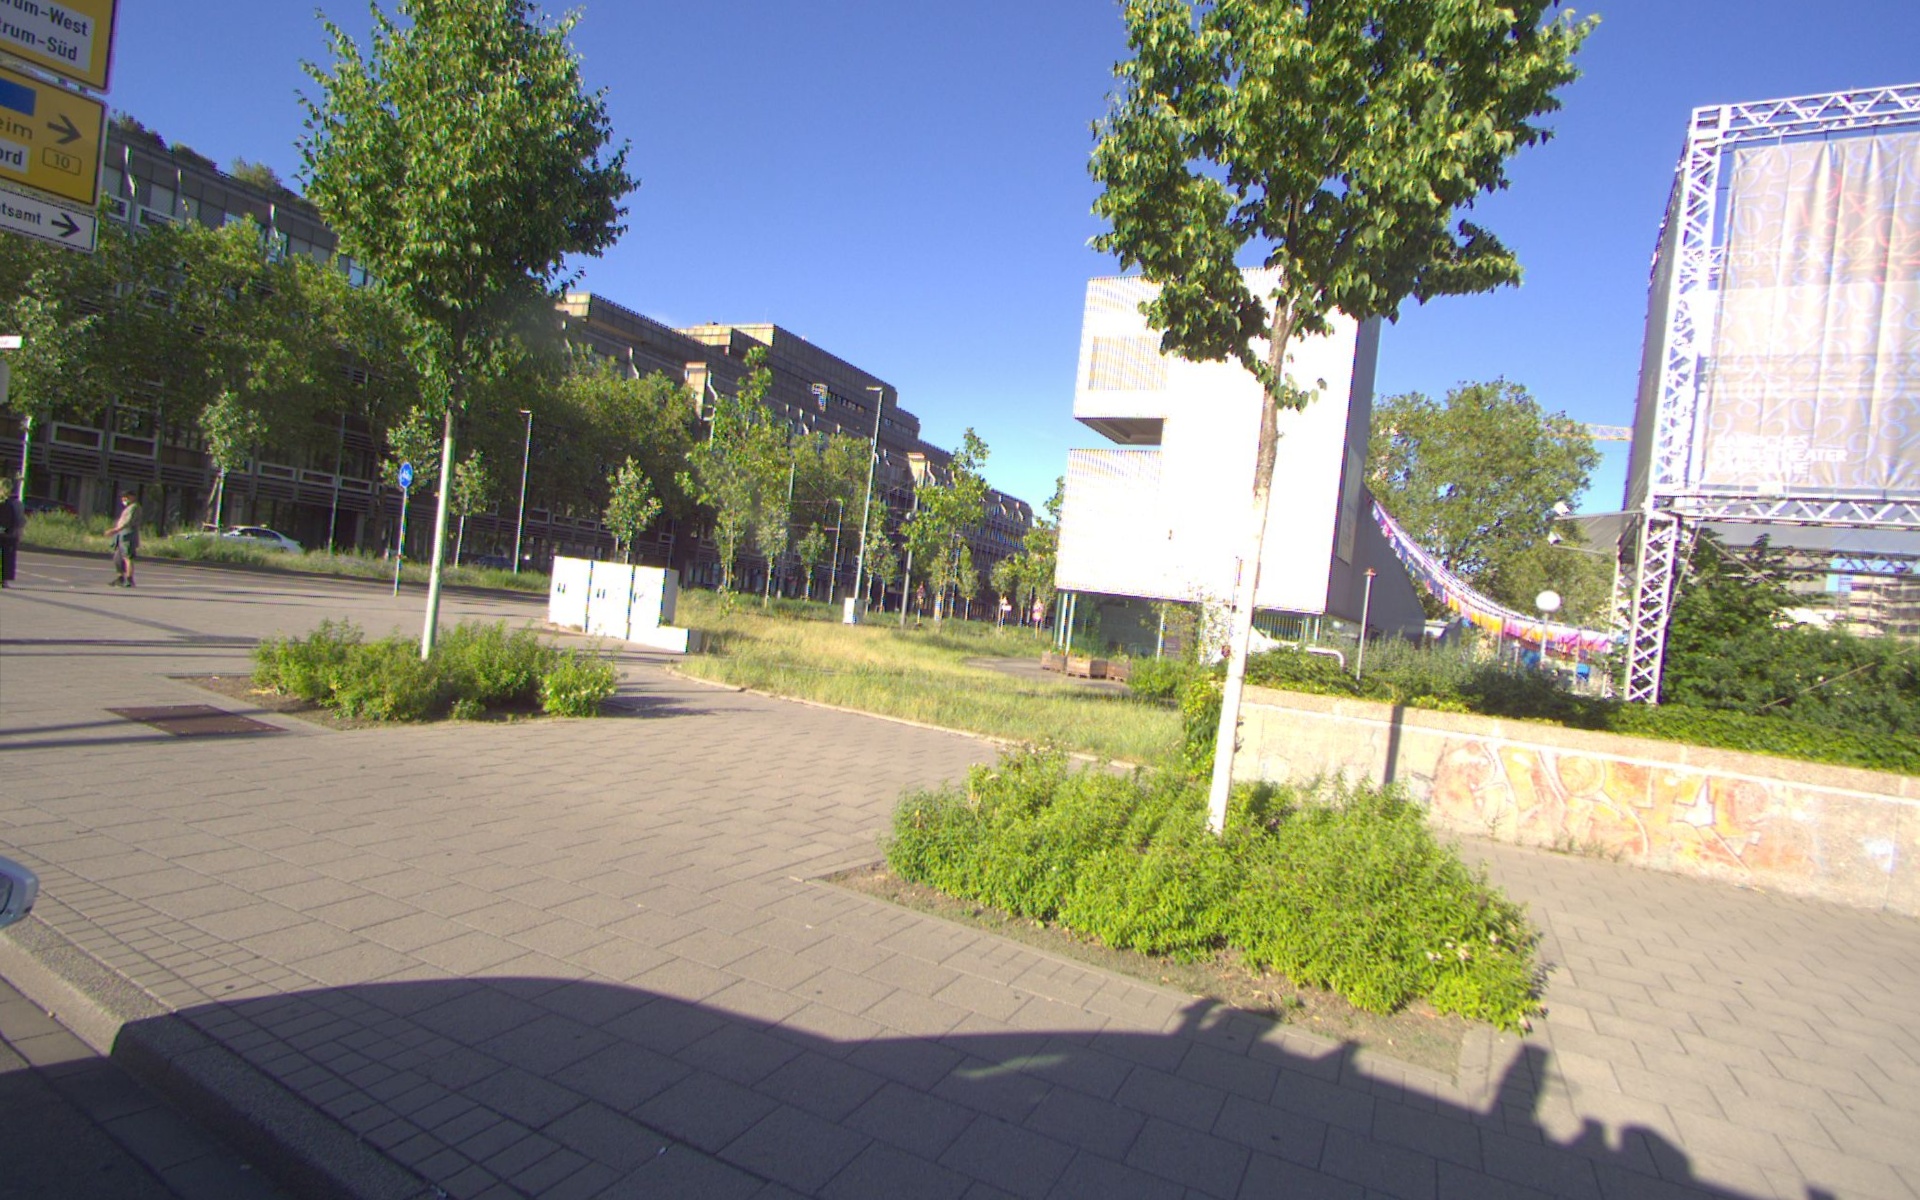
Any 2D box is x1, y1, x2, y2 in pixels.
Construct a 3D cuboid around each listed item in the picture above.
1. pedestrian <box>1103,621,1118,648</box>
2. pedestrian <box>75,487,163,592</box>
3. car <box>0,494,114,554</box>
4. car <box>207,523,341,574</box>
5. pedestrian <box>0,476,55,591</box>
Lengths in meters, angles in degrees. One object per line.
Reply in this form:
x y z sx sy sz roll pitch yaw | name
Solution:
9.150 2.097 61.109 0.520 1.571 0.638 7 -1 31 | pedestrian
-14.978 -1.065 17.932 0.755 1.728 0.873 7 1 30 | pedestrian
-33.144 -2.771 35.750 1.792 1.704 4.302 7 -1 21 | car
-32.257 -2.392 47.458 1.794 1.704 4.854 7 -1 28 | car
-14.212 -1.012 14.976 0.859 1.634 0.767 7 1 30 | pedestrian
